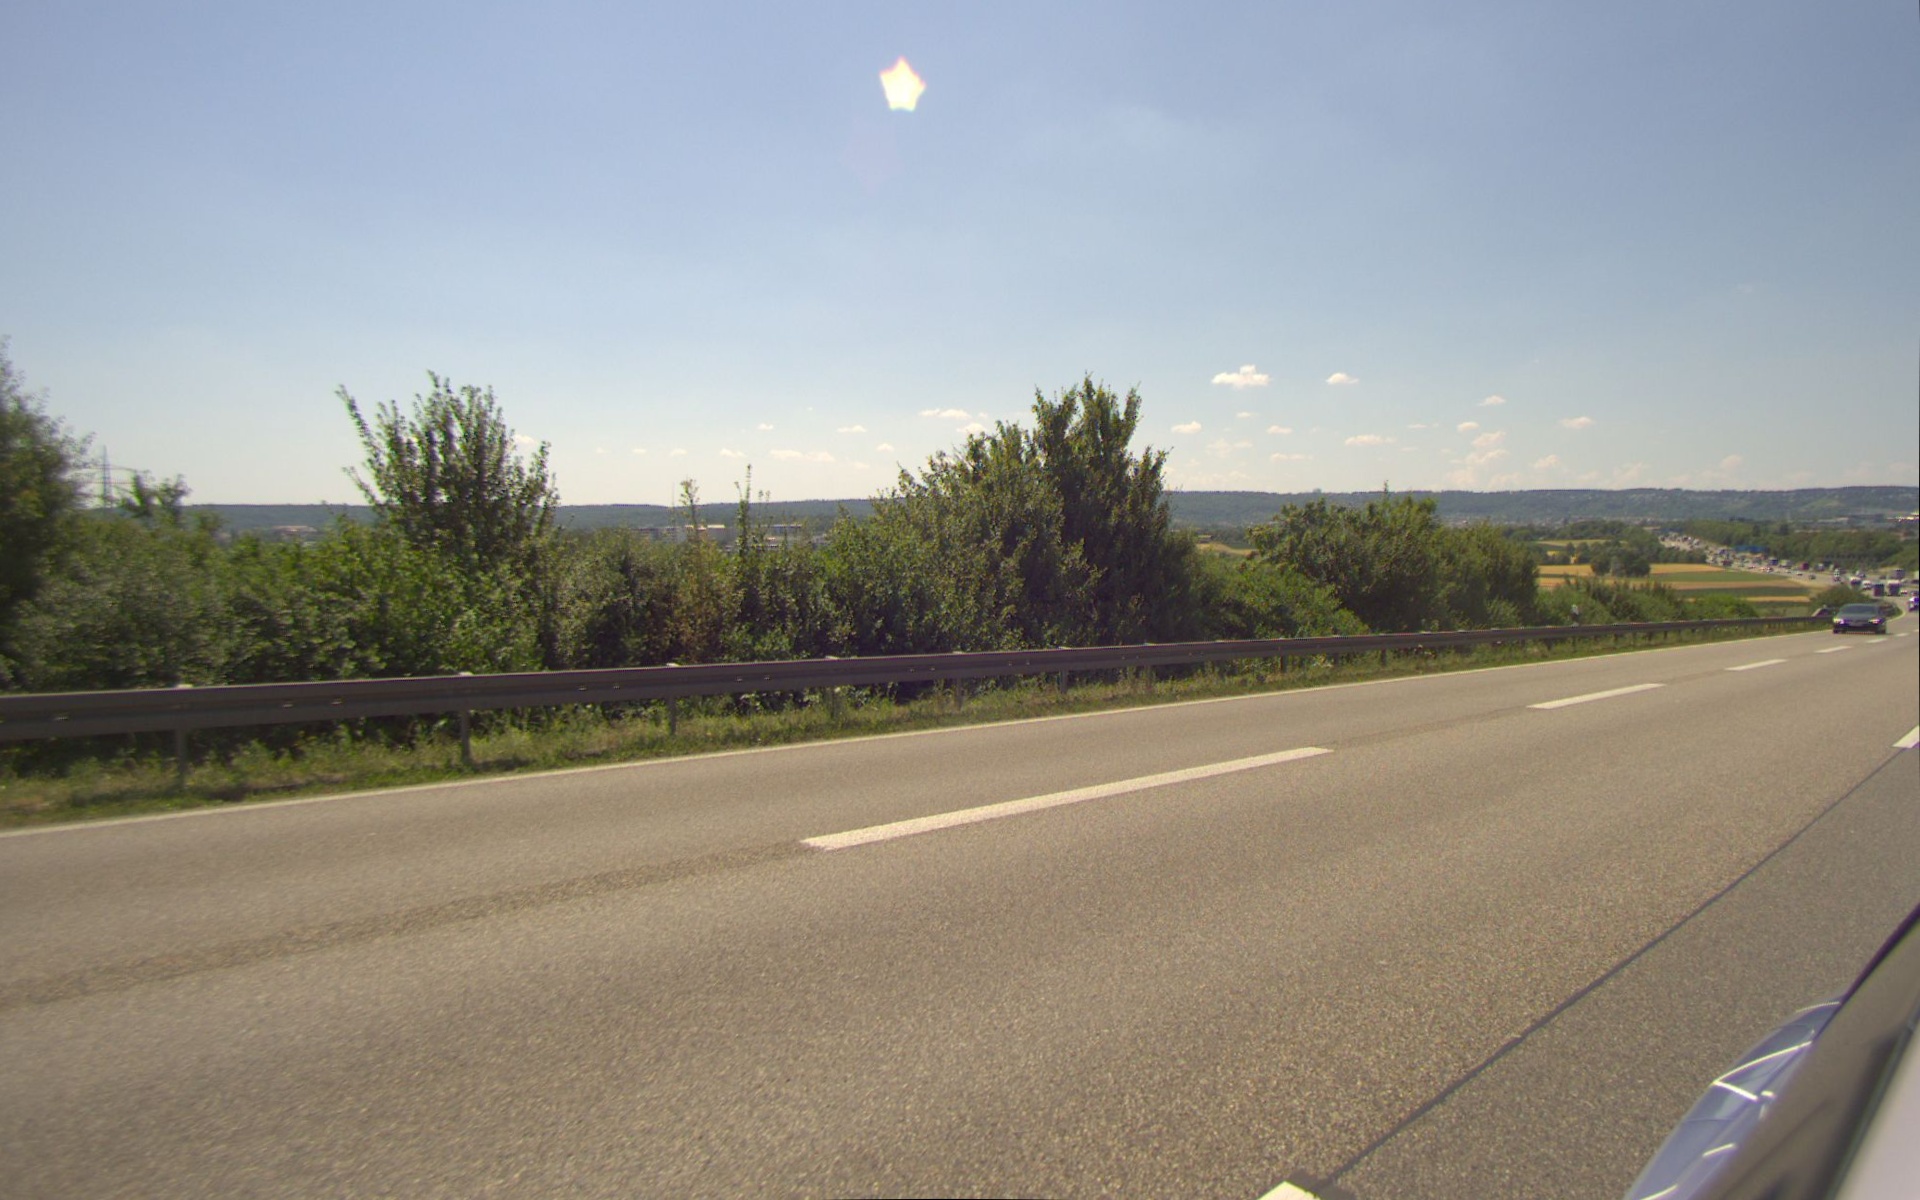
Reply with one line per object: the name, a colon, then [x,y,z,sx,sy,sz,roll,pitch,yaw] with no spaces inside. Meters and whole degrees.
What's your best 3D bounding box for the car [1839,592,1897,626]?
car: [43.954,0.389,49.073,2.030,1.571,3.940,1,1,41]
